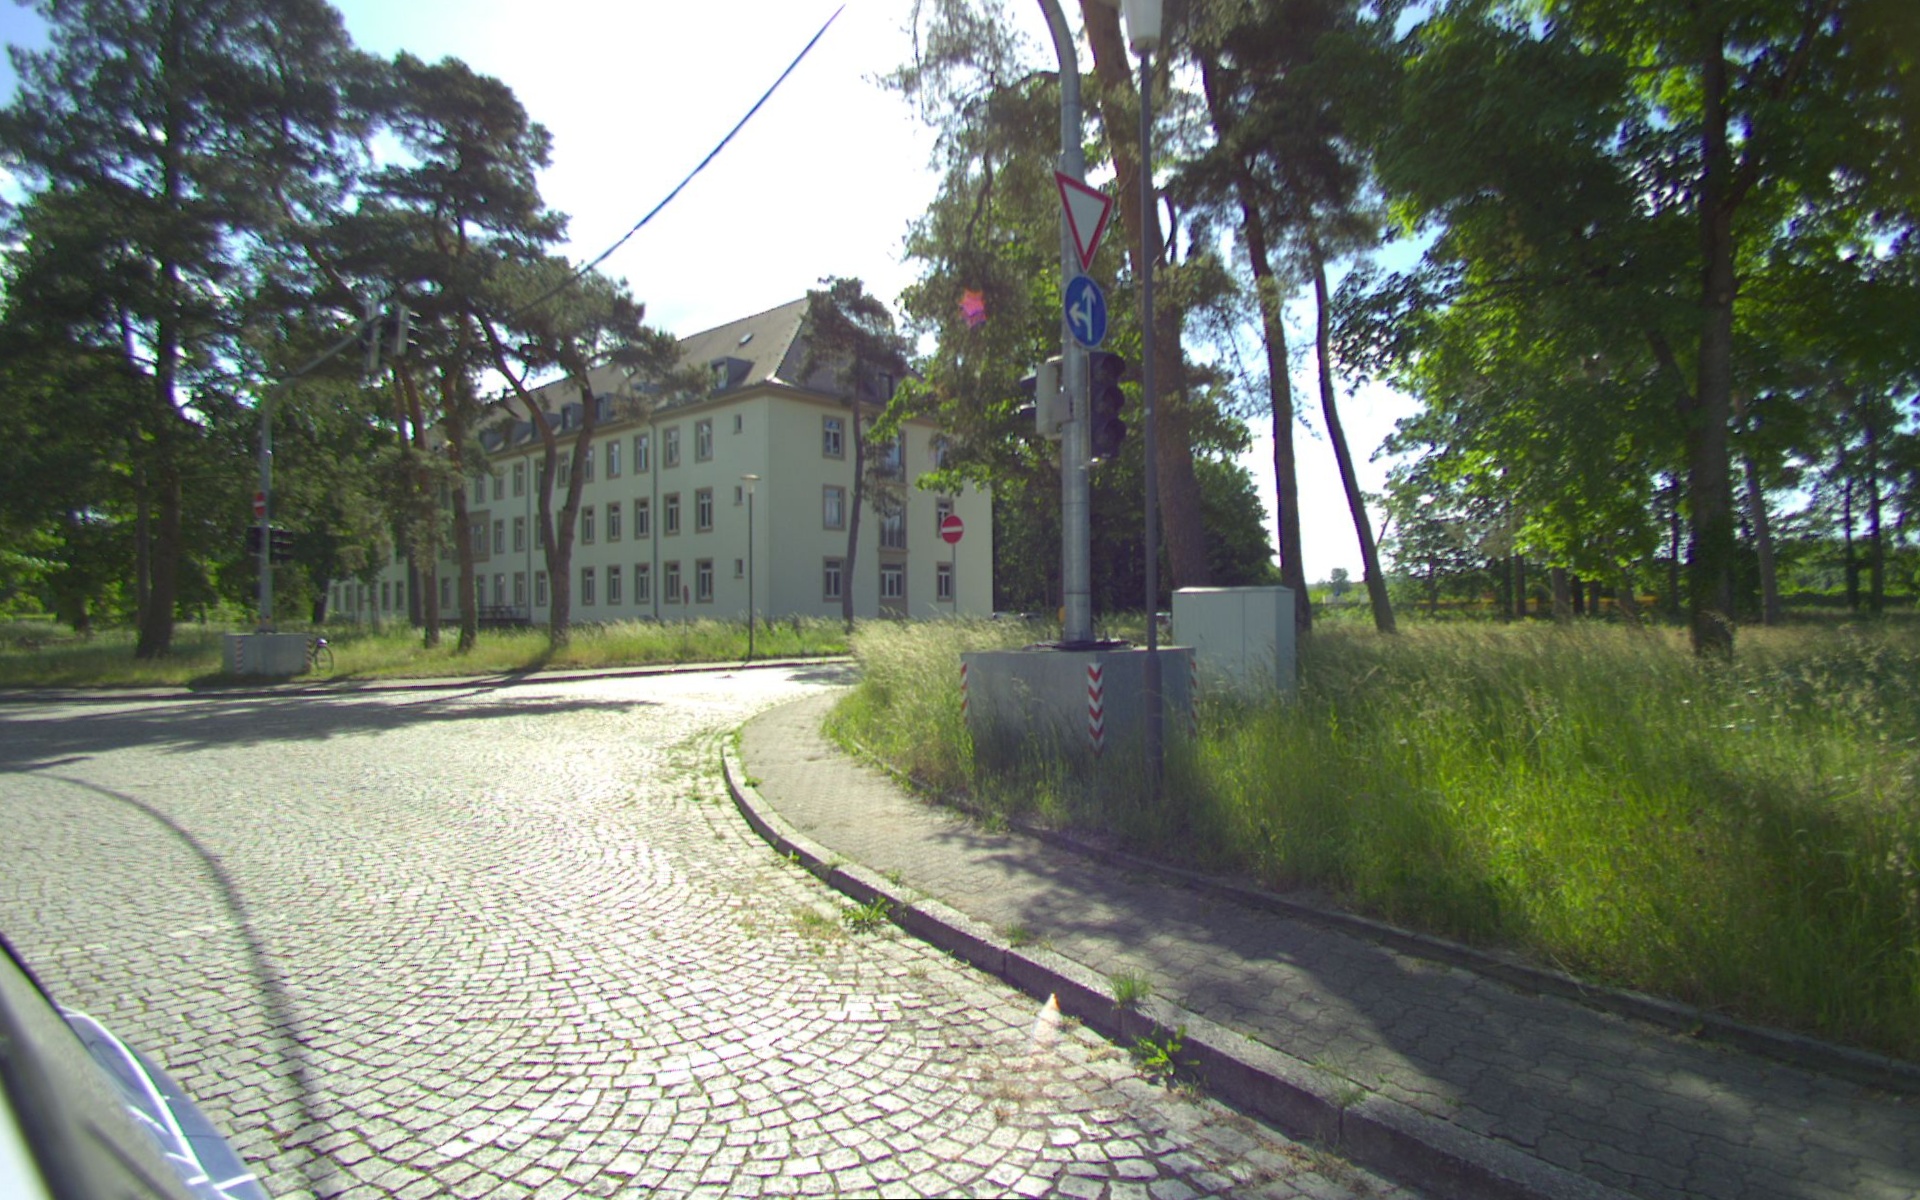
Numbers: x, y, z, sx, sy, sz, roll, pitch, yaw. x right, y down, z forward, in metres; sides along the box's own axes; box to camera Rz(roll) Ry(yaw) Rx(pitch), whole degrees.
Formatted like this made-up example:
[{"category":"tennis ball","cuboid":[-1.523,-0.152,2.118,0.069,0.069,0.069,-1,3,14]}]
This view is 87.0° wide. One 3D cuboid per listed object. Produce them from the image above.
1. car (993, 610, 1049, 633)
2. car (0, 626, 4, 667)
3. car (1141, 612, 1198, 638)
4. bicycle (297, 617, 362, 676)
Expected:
[{"category":"car","cuboid":[4.394,1.536,72.642,4.047,1.593,1.722,1,-2,-43]},{"category":"car","cuboid":[-36.631,1.674,35.643,1.813,1.513,3.999,-1,-1,33]},{"category":"car","cuboid":[13.449,1.598,64.769,1.720,1.593,4.050,-1,-1,43]},{"category":"bicycle","cuboid":[-14.739,1.063,23.645,2.113,1.293,0.613,-2,1,40]}]
